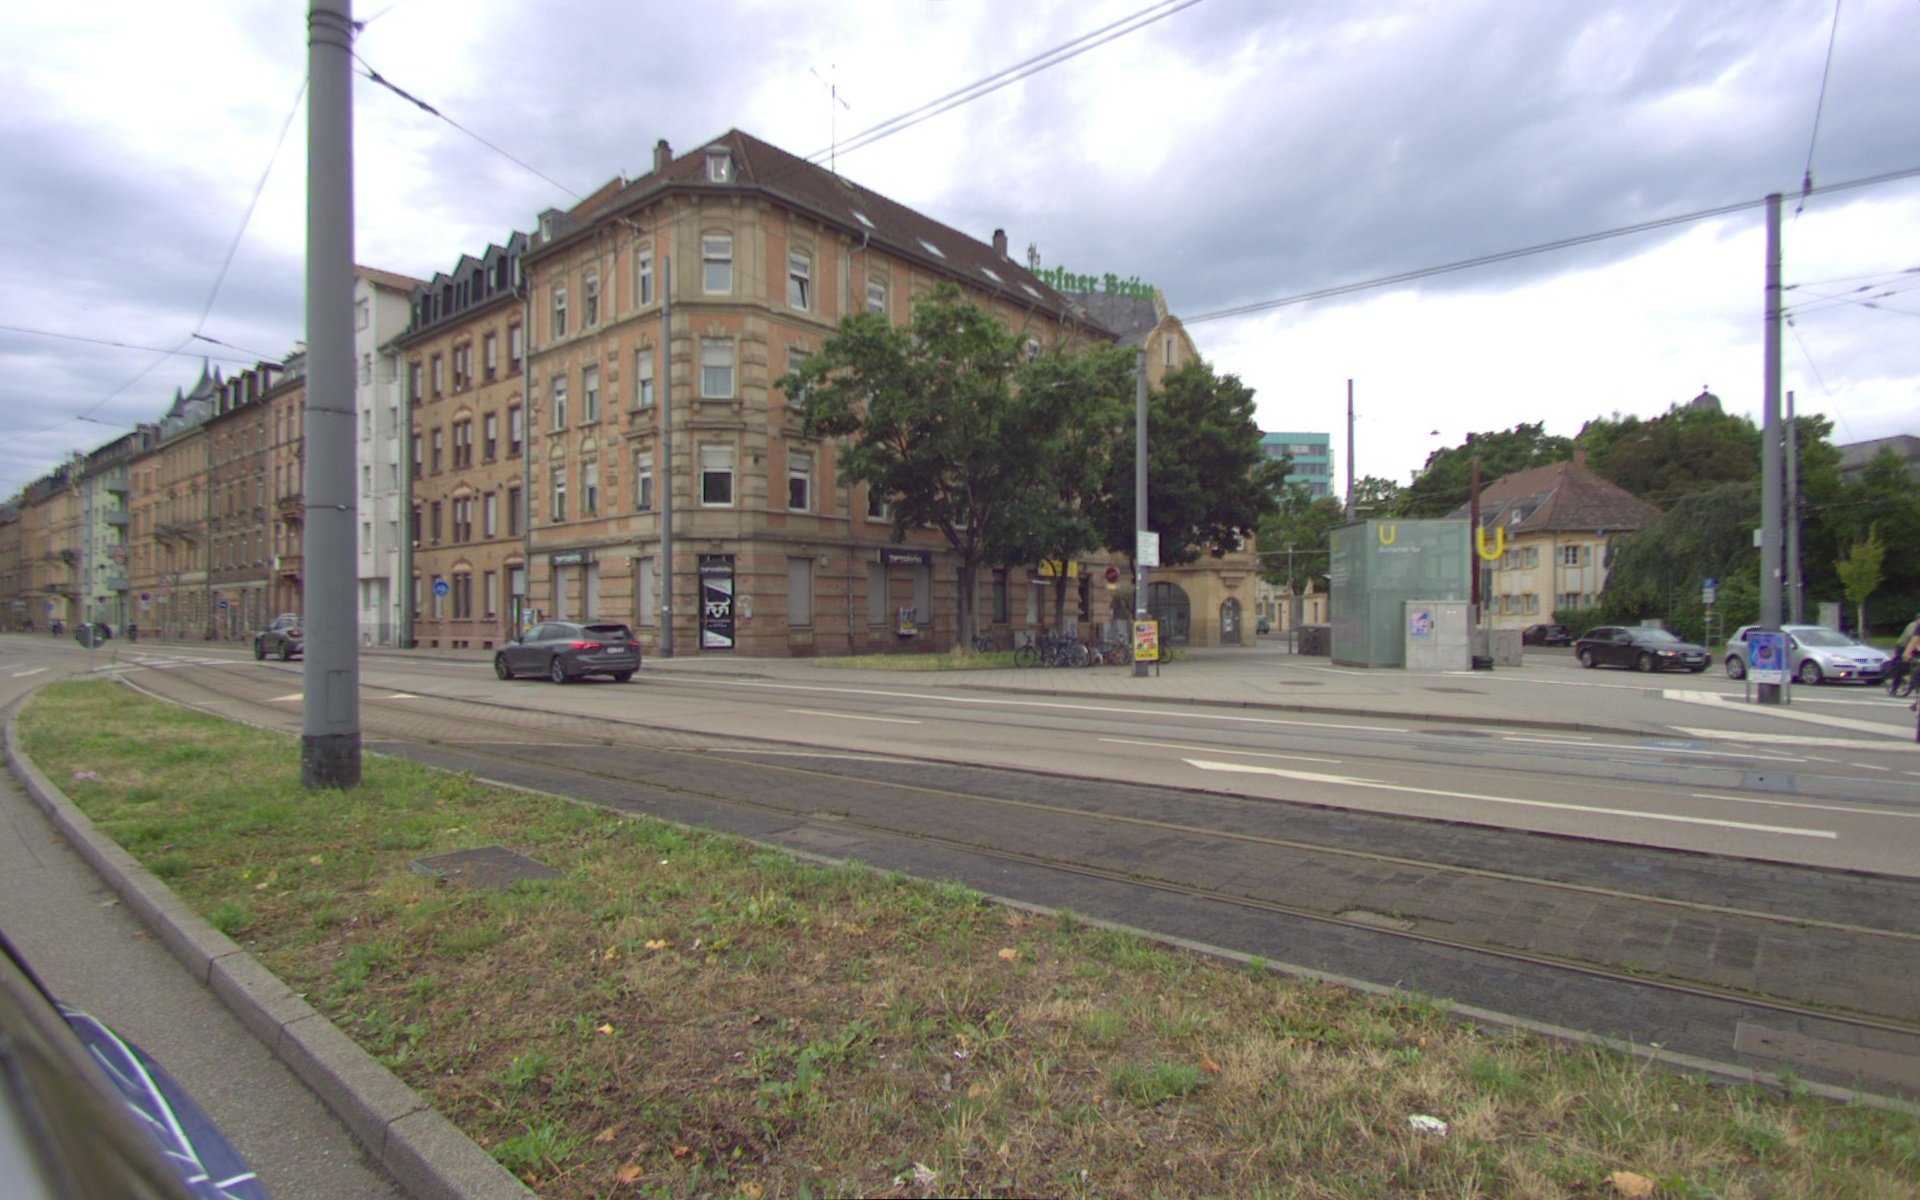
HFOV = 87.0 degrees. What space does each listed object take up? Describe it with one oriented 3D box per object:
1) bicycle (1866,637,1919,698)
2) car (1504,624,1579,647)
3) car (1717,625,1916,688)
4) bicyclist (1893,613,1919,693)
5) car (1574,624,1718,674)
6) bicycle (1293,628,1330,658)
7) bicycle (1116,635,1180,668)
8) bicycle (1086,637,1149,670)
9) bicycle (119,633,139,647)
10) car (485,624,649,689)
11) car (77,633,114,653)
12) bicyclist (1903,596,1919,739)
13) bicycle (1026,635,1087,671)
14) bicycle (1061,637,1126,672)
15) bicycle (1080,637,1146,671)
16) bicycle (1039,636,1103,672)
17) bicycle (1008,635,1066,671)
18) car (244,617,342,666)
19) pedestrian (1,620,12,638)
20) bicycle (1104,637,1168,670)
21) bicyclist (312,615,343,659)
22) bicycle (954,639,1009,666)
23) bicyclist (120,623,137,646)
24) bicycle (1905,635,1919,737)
[{"bbox_3d":[19.959,1.382,20.716,0.845,1.217,2.197,0,-1,1],"label":"bicycle"},{"bbox_3d":[35.610,2.158,62.091,1.904,1.298,4.006,0,-1,-7],"label":"car"},{"bbox_3d":[21.897,1.386,26.137,1.739,1.465,4.156,-1,-1,4],"label":"car"},{"bbox_3d":[19.963,1.084,20.718,0.843,1.635,0.917,0,-2,1],"label":"bicyclist"},{"bbox_3d":[21.796,1.523,32.383,1.673,1.460,4.144,-1,-1,-1],"label":"car"},{"bbox_3d":[13.931,1.706,40.129,0.730,1.123,2.361,-1,-1,3],"label":"bicycle"},{"bbox_3d":[6.357,1.731,34.286,0.678,1.047,2.224,0,-1,-39],"label":"bicycle"},{"bbox_3d":[5.033,1.691,32.499,0.492,0.994,2.224,0,-1,-39],"label":"bicycle"},{"bbox_3d":[-55.474,2.649,67.554,1.716,0.922,0.600,-1,-1,37],"label":"bicycle"},{"bbox_3d":[-9.398,1.279,24.046,4.387,1.406,1.676,-1,-2,39],"label":"car"},{"bbox_3d":[-68.737,3.380,80.483,3.828,1.491,1.828,-2,-2,43],"label":"car"},{"bbox_3d":[12.779,0.856,13.054,0.816,1.812,1.015,-3,-3,43],"label":"bicyclist"},{"bbox_3d":[2.862,1.563,30.185,0.513,0.994,2.041,0,-1,-39],"label":"bicycle"},{"bbox_3d":[4.032,1.639,30.843,0.492,0.994,2.224,0,-1,-39],"label":"bicycle"},{"bbox_3d":[4.800,1.692,31.840,0.601,0.994,2.224,0,-1,-39],"label":"bicycle"},{"bbox_3d":[3.314,1.605,30.510,0.472,1.014,2.224,0,-1,-39],"label":"bicycle"},{"bbox_3d":[2.247,1.546,29.757,0.492,0.994,1.872,1,-2,-41],"label":"bicycle"},{"bbox_3d":[-24.278,1.465,36.782,4.225,1.652,1.780,-1,-1,39],"label":"car"},{"bbox_3d":[-105.012,3.208,111.454,0.733,2.029,0.804,-1,-2,41],"label":"pedestrian"},{"bbox_3d":[5.757,1.732,33.161,0.576,0.994,2.224,0,-1,-39],"label":"bicycle"},{"bbox_3d":[-27.577,1.618,44.105,1.048,1.906,0.821,-2,-3,39],"label":"bicyclist"},{"bbox_3d":[0.809,1.973,38.003,1.982,0.921,0.655,-4,-5,31],"label":"bicycle"},{"bbox_3d":[-55.522,2.326,67.586,0.941,1.506,0.655,-1,-1,37],"label":"bicyclist"},{"bbox_3d":[12.729,1.085,12.995,0.816,1.252,1.971,-3,-4,43],"label":"bicycle"}]
